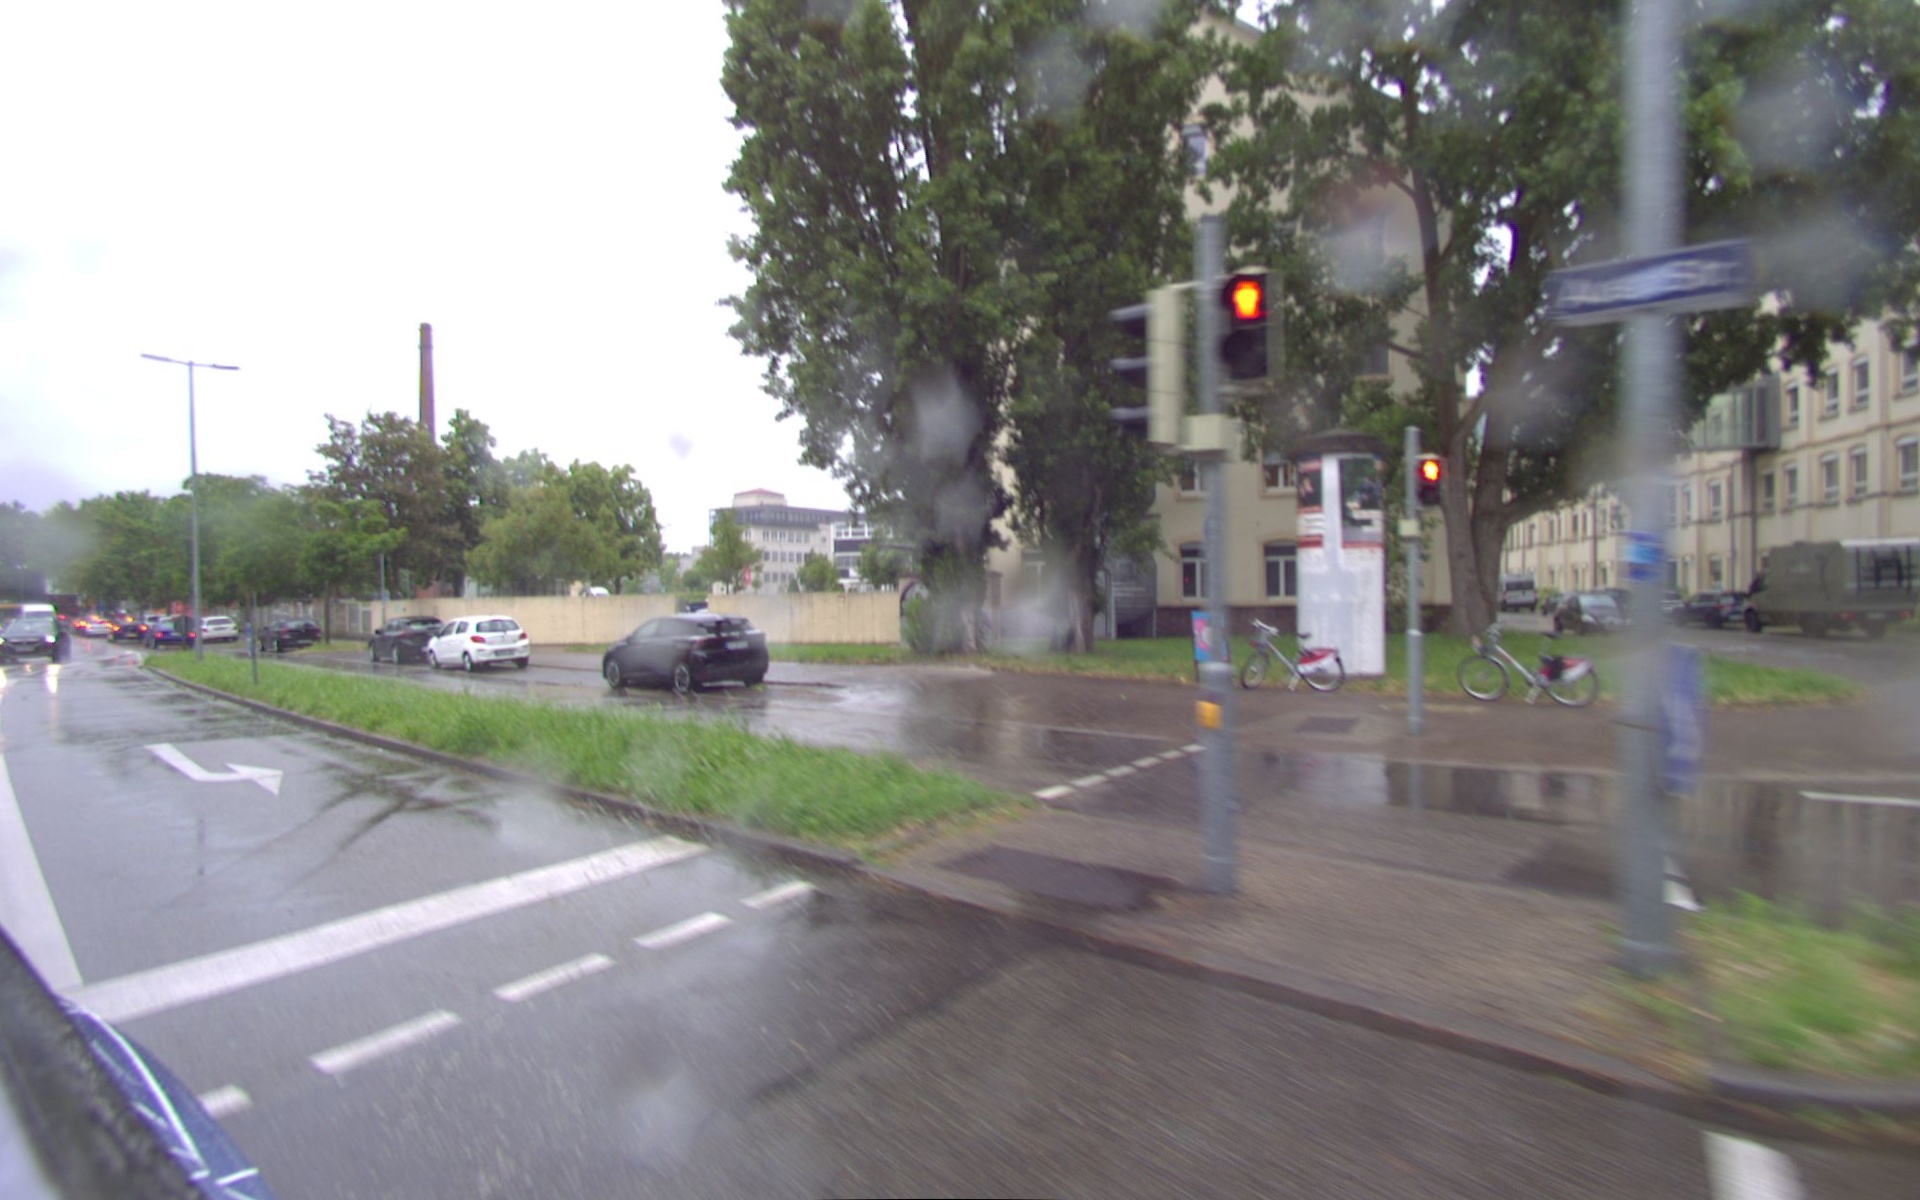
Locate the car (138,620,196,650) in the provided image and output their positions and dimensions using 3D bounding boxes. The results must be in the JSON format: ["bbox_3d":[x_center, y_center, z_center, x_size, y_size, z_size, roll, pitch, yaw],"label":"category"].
[{"bbox_3d":[-39.111,1.716,49.892,3.951,1.404,1.707,-1,-3,44],"label":"car"}]

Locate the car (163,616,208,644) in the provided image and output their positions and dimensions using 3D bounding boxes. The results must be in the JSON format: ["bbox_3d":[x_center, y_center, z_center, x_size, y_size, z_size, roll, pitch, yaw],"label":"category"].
[{"bbox_3d":[-48.554,1.854,63.425,3.798,1.610,1.606,-1,1,43],"label":"car"}]

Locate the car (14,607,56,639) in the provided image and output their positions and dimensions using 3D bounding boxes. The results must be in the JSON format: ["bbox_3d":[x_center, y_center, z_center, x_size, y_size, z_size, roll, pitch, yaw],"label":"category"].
[{"bbox_3d":[-69.258,1.716,75.753,2.163,2.272,4.888,-2,1,-44],"label":"car"}]

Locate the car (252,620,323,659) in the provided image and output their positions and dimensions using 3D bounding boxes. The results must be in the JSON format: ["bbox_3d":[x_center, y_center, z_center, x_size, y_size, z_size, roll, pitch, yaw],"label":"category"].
[{"bbox_3d":[-28.303,1.614,42.560,4.099,1.456,1.677,-1,1,45],"label":"car"}]

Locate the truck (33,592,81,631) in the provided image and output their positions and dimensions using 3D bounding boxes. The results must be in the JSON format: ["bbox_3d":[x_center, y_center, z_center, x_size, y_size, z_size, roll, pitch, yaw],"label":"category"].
[{"bbox_3d":[-106.963,1.350,119.814,3.779,4.418,10.794,-2,1,-44],"label":"truck"}]

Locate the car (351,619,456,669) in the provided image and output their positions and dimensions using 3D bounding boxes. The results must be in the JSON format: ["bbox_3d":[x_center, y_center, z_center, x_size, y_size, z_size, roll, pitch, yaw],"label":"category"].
[{"bbox_3d":[-17.814,1.353,32.325,4.181,1.393,1.708,-1,2,44],"label":"car"}]

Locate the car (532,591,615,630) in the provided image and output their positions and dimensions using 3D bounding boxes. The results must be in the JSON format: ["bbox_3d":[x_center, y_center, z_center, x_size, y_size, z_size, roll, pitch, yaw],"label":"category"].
[{"bbox_3d":[-25.168,0.704,65.934,4.678,2.414,2.139,-1,0,16],"label":"car"}]

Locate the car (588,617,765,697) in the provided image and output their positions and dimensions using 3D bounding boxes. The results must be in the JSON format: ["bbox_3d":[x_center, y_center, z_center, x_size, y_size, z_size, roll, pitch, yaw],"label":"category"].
[{"bbox_3d":[-5.861,1.082,20.664,4.195,1.407,1.527,-1,1,44],"label":"car"}]

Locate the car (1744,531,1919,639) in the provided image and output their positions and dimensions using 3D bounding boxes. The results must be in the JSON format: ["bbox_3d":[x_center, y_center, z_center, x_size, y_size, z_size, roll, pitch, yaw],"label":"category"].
[{"bbox_3d":[29.218,-0.494,33.440,2.811,3.217,6.190,-1,0,13],"label":"car"}]

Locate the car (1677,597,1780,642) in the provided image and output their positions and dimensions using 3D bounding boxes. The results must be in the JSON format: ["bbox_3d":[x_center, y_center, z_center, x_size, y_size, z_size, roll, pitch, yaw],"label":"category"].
[{"bbox_3d":[31.355,0.775,41.444,1.875,1.669,3.983,-1,0,14],"label":"car"}]

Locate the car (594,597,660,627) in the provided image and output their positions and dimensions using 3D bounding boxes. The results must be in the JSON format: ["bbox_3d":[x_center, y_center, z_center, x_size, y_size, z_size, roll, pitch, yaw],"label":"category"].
[{"bbox_3d":[-23.126,0.828,70.322,3.963,2.029,1.991,-1,0,15],"label":"car"}]

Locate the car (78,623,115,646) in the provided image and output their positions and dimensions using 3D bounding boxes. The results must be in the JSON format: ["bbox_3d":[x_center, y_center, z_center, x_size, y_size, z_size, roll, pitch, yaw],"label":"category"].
[{"bbox_3d":[-70.370,2.803,82.444,2.041,1.755,4.178,-2,1,-44],"label":"car"}]

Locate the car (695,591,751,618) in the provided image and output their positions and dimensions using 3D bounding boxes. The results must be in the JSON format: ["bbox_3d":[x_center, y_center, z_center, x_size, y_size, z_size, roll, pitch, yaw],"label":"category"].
[{"bbox_3d":[-19.128,0.342,81.724,3.963,2.029,1.991,-1,0,15],"label":"car"}]

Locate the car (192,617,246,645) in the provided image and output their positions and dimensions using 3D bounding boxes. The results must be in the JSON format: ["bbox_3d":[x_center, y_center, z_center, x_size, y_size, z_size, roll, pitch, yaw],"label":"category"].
[{"bbox_3d":[-42.127,1.739,57.491,4.682,1.471,1.754,-1,1,45],"label":"car"}]

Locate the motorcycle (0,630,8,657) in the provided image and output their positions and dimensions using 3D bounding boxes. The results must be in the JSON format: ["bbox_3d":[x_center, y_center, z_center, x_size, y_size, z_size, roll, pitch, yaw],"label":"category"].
[{"bbox_3d":[-50.352,2.296,52.259,1.742,1.383,0.735,-2,1,-44],"label":"motorcycle"}]

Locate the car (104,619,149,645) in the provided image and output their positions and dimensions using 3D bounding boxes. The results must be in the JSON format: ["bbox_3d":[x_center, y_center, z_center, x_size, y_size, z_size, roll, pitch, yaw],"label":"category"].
[{"bbox_3d":[-50.914,1.920,61.777,3.948,1.512,1.686,-1,-2,45],"label":"car"}]

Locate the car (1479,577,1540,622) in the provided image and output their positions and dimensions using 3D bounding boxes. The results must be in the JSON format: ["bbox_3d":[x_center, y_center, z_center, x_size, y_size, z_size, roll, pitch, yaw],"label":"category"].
[{"bbox_3d":[37.472,-0.075,69.149,2.314,2.892,5.589,-1,0,14],"label":"car"}]

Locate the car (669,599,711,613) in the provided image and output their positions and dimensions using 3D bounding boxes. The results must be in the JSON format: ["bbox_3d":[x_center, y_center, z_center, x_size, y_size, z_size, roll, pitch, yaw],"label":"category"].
[{"bbox_3d":[-28.871,0.643,108.211,3.962,1.453,1.991,-1,-1,15],"label":"car"}]

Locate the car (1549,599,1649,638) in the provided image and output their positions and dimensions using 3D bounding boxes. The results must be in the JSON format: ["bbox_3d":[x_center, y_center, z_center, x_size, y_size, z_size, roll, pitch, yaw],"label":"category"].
[{"bbox_3d":[23.371,0.640,37.172,1.889,1.279,4.078,-1,1,14],"label":"car"}]

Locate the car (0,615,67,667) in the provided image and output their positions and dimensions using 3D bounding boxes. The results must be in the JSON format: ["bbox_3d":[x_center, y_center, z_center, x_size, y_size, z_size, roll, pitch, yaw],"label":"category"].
[{"bbox_3d":[-32.555,1.400,35.403,1.804,1.641,4.007,-2,1,-40],"label":"car"}]

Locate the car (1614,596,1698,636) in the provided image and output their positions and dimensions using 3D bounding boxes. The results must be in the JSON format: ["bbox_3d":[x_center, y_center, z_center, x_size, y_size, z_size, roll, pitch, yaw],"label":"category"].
[{"bbox_3d":[32.310,0.713,47.130,1.875,1.694,3.983,-1,0,14],"label":"car"}]

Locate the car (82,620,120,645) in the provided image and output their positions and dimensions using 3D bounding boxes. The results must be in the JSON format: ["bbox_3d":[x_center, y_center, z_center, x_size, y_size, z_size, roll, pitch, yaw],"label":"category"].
[{"bbox_3d":[-66.301,2.465,78.067,2.041,1.755,4.179,-2,1,-43],"label":"car"}]

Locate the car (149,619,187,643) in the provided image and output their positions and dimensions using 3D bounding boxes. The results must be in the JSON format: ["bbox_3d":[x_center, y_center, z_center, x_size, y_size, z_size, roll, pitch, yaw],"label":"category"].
[{"bbox_3d":[-52.325,2.015,66.859,1.670,1.465,3.722,-2,1,-43],"label":"car"}]

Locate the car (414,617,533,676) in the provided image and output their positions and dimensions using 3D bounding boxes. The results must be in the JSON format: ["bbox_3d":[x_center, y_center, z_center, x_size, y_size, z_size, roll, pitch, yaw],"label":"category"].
[{"bbox_3d":[-13.705,1.237,28.421,4.122,1.485,1.585,-1,1,42],"label":"car"}]

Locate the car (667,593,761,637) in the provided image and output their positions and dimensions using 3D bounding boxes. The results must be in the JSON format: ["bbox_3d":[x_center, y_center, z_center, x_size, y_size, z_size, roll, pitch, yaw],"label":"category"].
[{"bbox_3d":[-11.864,0.707,48.954,3.955,2.006,1.995,-1,0,9],"label":"car"}]

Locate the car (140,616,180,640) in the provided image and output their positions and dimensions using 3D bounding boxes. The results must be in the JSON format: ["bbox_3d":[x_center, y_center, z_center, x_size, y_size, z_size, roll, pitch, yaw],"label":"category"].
[{"bbox_3d":[-58.249,2.011,73.655,1.855,1.694,4.041,-2,1,-44],"label":"car"}]

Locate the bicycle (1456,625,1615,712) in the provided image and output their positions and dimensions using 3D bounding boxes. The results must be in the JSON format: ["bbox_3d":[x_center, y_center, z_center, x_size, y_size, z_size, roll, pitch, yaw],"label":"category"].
[{"bbox_3d":[7.759,0.889,13.700,1.794,1.085,0.550,-1,0,40],"label":"bicycle"}]

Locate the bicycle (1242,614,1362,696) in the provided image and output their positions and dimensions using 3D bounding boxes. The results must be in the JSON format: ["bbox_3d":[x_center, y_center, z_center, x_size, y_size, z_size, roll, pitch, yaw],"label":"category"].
[{"bbox_3d":[5.324,0.828,15.780,1.623,1.195,0.690,-1,0,40],"label":"bicycle"}]
